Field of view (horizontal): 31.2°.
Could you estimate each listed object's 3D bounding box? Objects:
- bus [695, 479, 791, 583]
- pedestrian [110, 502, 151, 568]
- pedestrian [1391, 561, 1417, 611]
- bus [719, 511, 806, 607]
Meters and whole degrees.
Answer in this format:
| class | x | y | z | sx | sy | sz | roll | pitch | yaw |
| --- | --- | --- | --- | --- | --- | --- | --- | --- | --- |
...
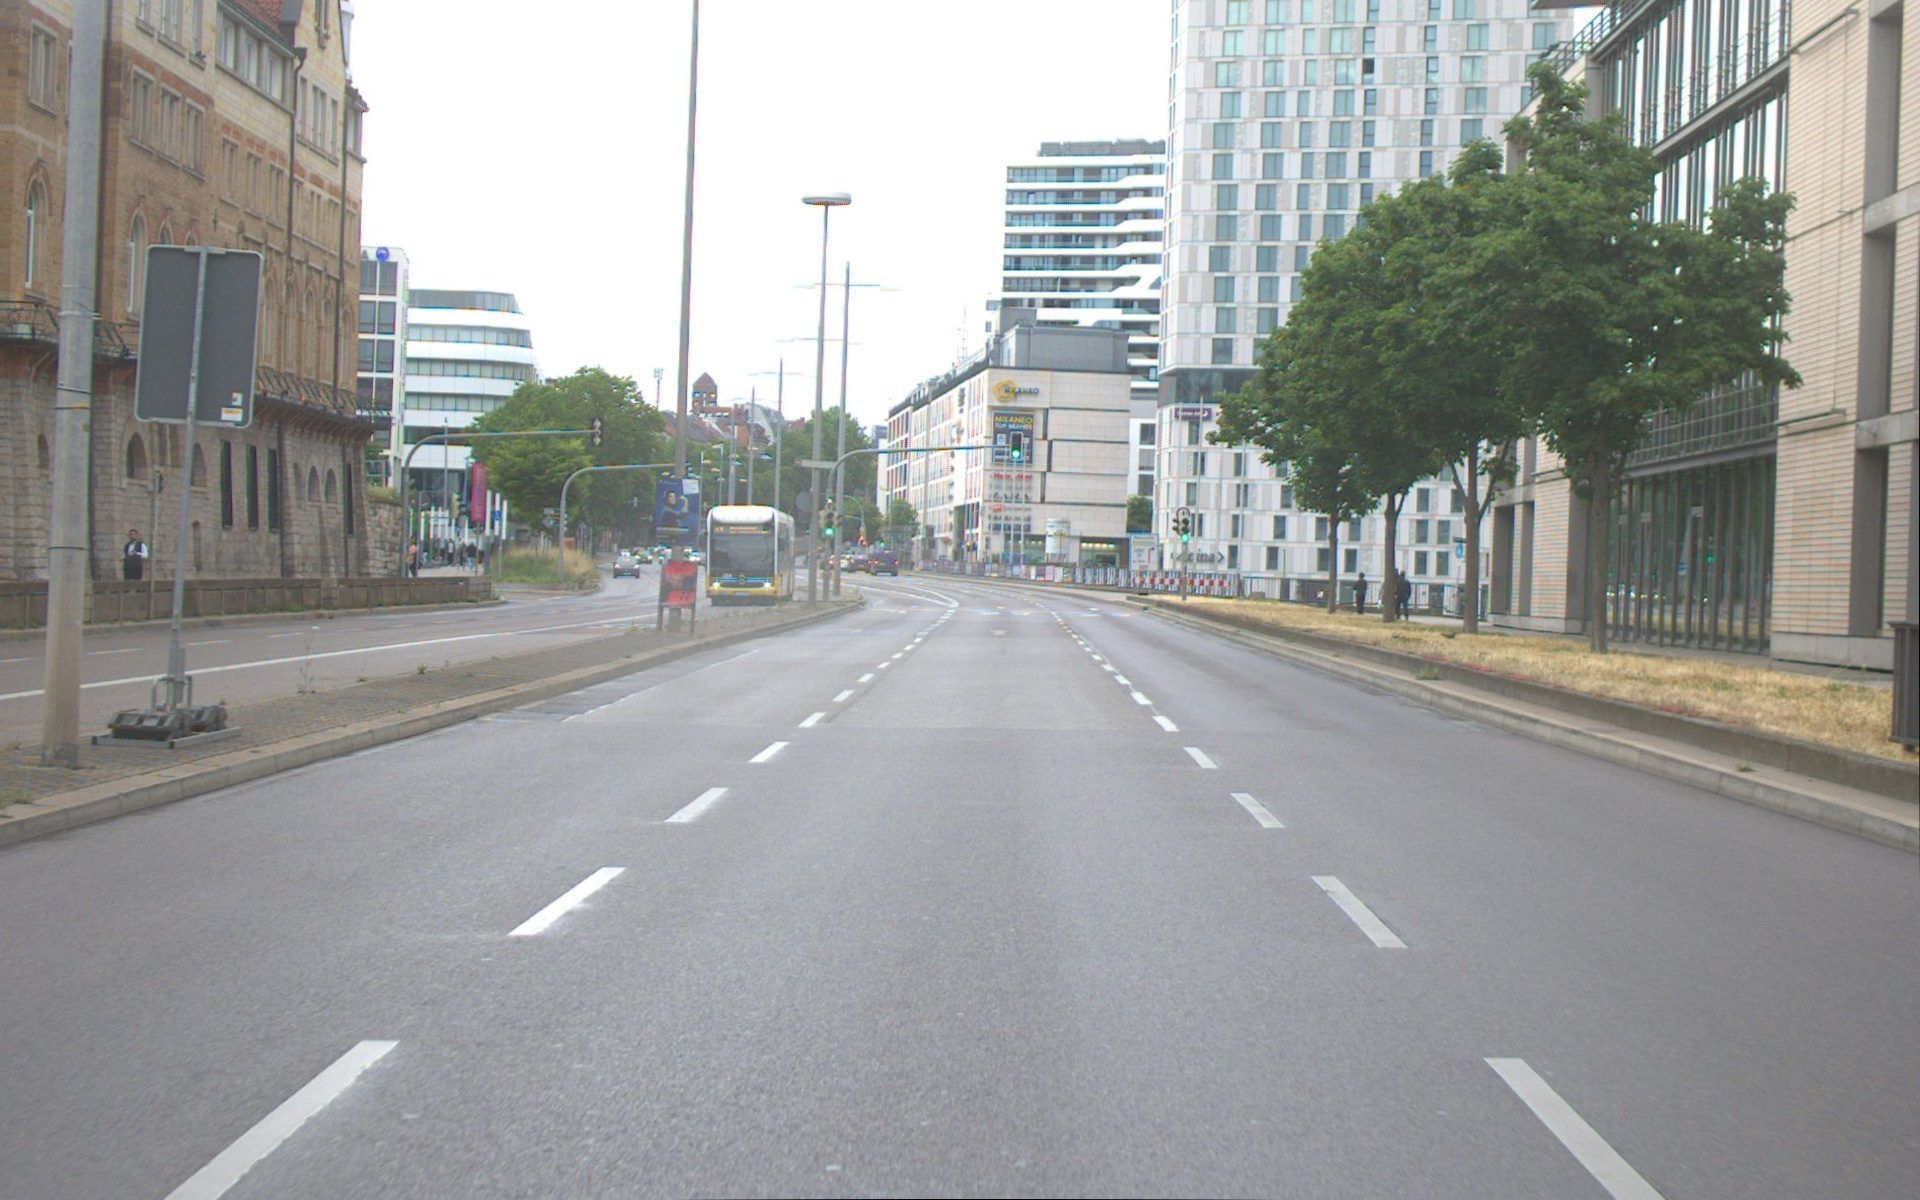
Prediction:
| class | x | y | z | sx | sy | sz | roll | pitch | yaw |
| --- | --- | --- | --- | --- | --- | --- | --- | --- | --- |
| bus | -7.665 | -2.434 | 122.522 | 2.698 | 3.547 | 10.094 | 1 | 1 | 0 |
| pedestrian | -18.642 | -1.466 | 77.252 | 0.754 | 1.472 | 0.714 | 1 | 2 | 0 |
| pedestrian | 14.461 | -0.457 | 111.996 | 0.550 | 1.572 | 0.669 | 2 | 2 | 35 |
| bus | -7.586 | -1.652 | 133.231 | 2.698 | 3.547 | 10.094 | 1 | 1 | 0 |
